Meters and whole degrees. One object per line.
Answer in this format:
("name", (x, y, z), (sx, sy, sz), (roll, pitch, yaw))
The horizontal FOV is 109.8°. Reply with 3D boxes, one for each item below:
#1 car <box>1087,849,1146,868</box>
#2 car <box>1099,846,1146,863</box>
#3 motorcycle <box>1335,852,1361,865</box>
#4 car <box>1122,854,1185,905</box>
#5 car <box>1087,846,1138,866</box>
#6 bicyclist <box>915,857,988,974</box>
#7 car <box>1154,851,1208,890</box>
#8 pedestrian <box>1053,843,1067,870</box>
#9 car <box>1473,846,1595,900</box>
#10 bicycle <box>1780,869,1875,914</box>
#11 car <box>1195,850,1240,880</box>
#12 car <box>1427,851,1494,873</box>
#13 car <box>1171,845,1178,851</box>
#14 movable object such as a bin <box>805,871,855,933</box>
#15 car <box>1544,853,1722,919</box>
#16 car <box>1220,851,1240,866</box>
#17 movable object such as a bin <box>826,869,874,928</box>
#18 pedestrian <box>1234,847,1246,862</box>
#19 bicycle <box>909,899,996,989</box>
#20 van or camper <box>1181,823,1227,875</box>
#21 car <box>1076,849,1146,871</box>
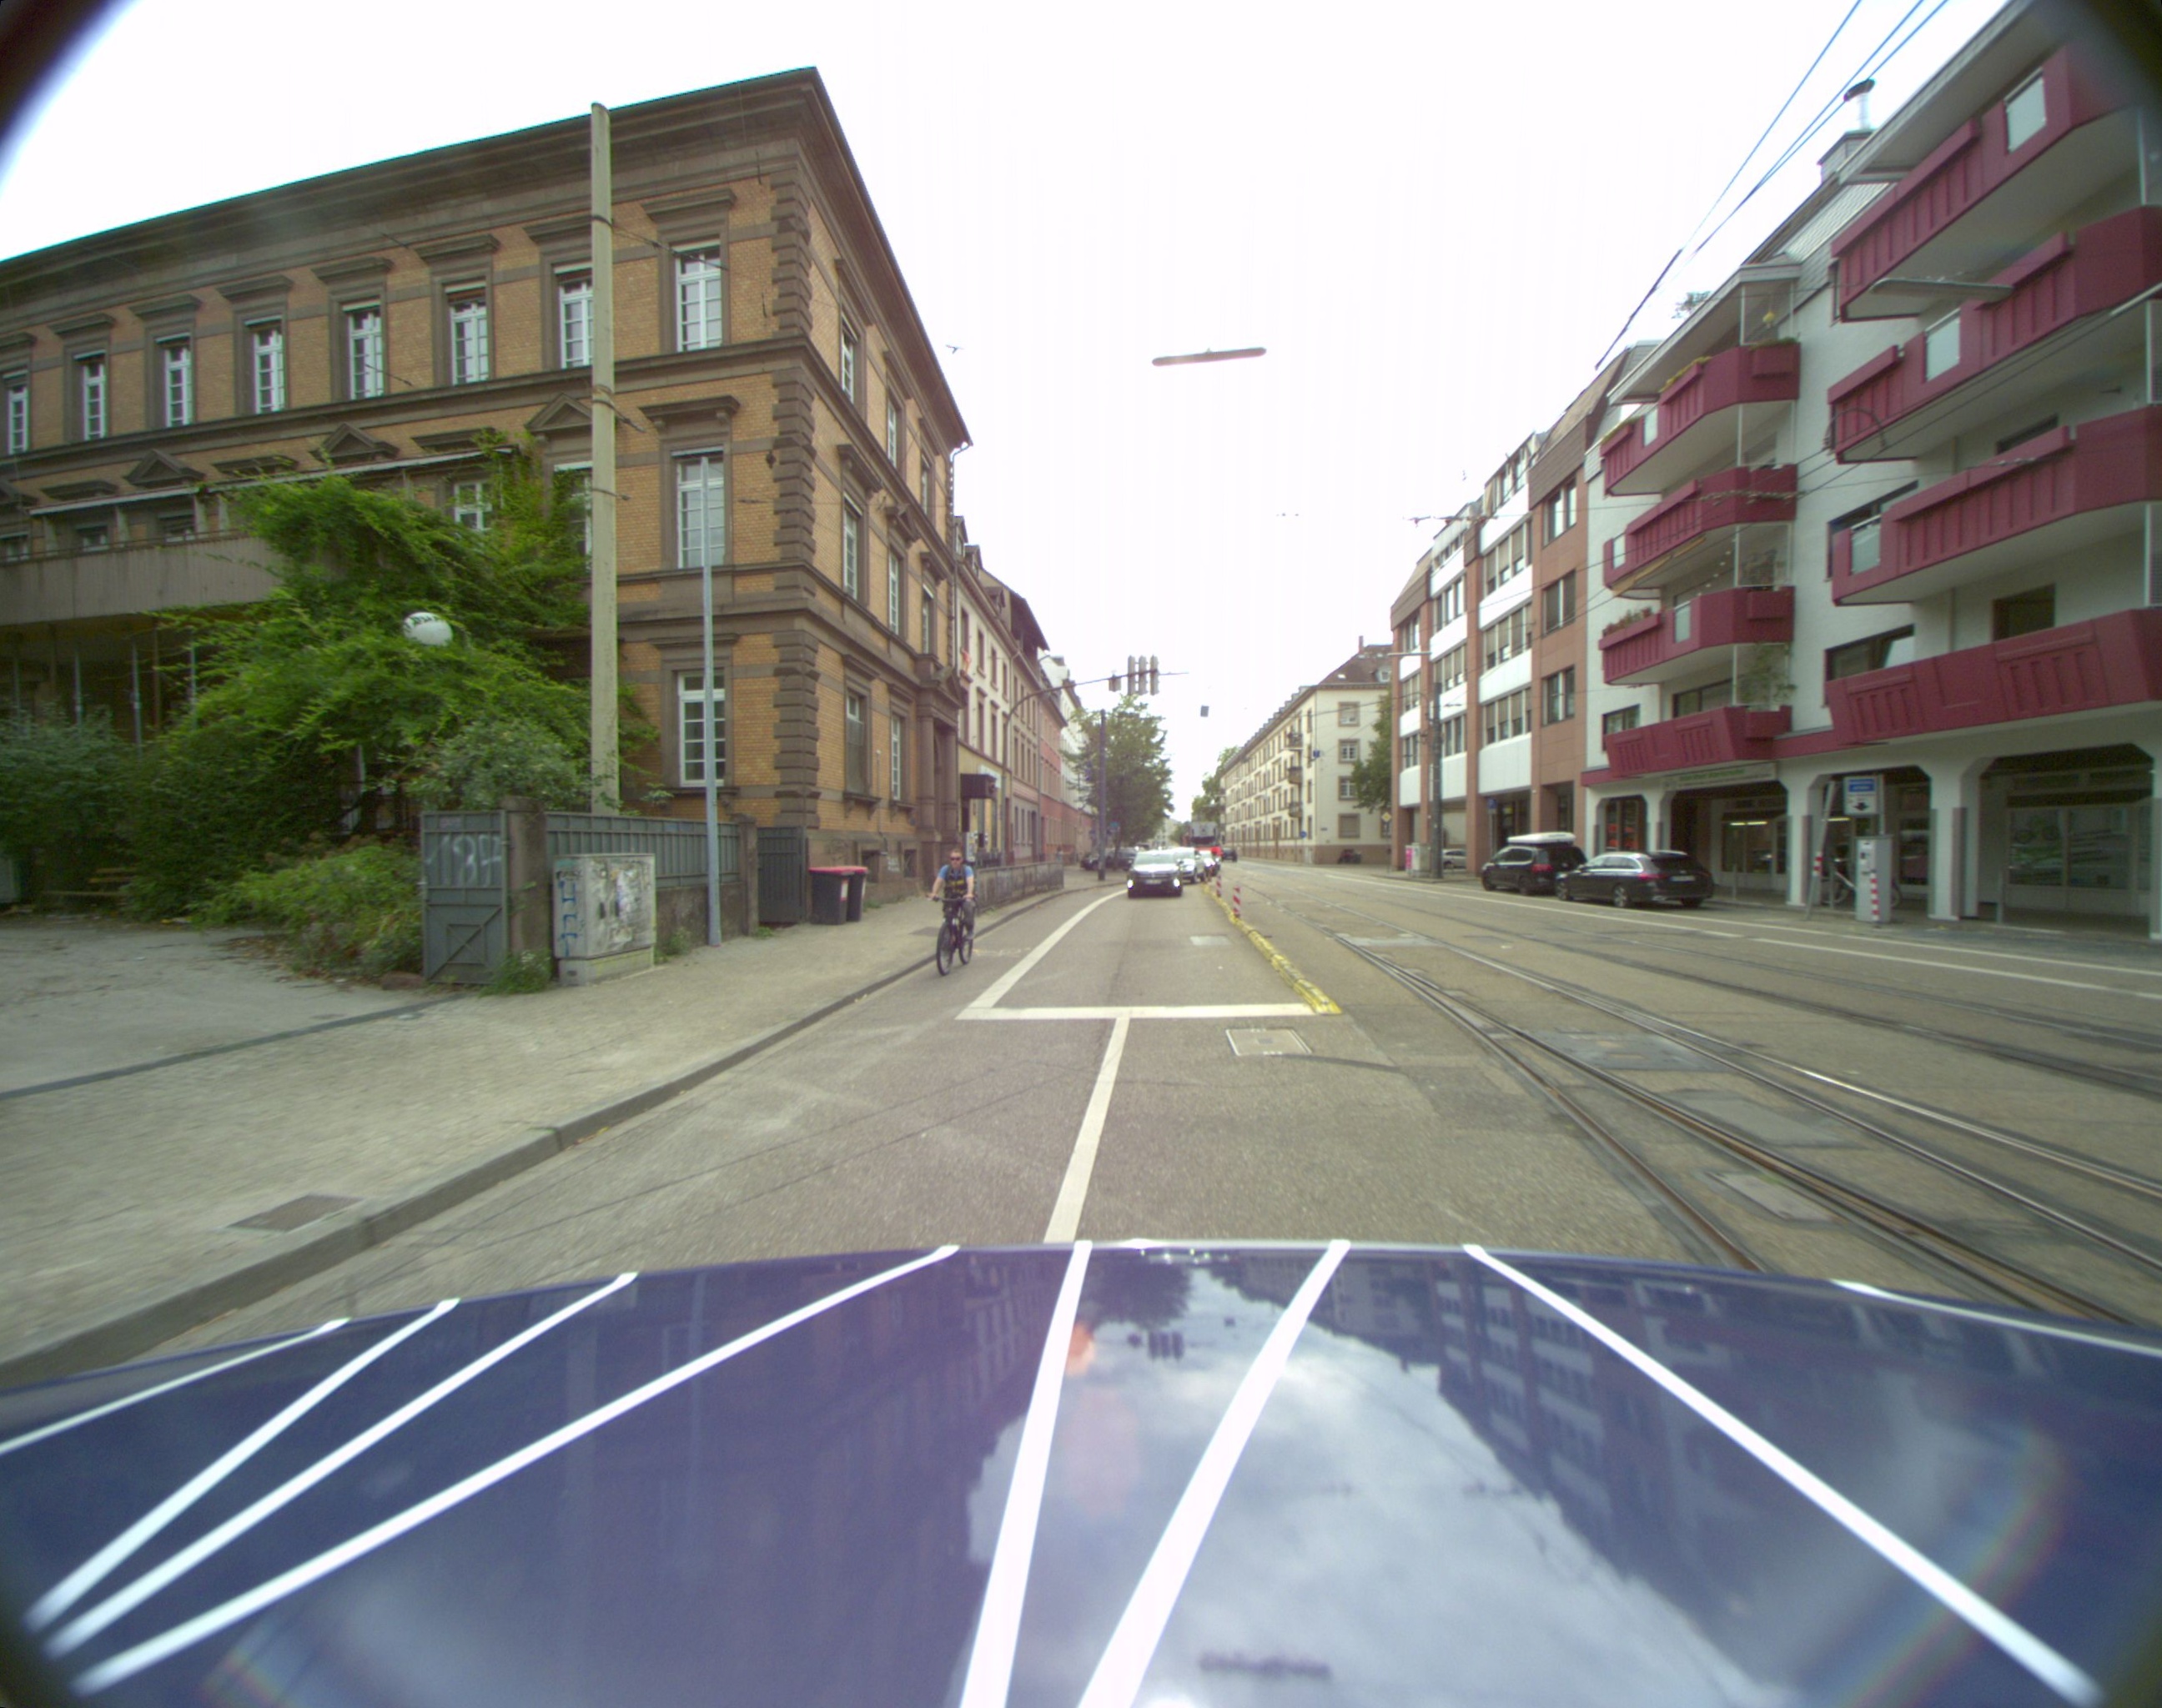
("car", (2.837, 0.362, 60.879), (4.349, 1.471, 1.786), (1, 0, -18))
("car", (4.393, 0.057, 81.412), (4.632, 1.688, 1.913), (1, 0, -18))
("motorcycle", (22.537, 0.374, 64.071), (1.923, 1.080, 0.793), (0, 1, 6))
("car", (2.579, 0.807, 26.168), (1.772, 1.538, 4.285), (-2, 1, 10))
("car", (2.803, 0.160, 67.571), (4.243, 1.688, 1.737), (1, 1, -18))
("bicyclist", (-1.754, 0.816, 10.433), (0.715, 1.498, 0.919), (-2, 1, 5))
("car", (4.603, 0.687, 34.486), (1.771, 1.582, 4.286), (-2, 1, 16))
("pedestrian", (-1.360, 0.156, 49.598), (0.732, 1.679, 0.927), (3, 1, 6))
("car", (15.480, 0.584, 26.294), (1.810, 1.638, 4.699), (-2, 0, 6))
("bicycle", (17.251, 0.850, 17.617), (0.565, 0.948, 1.650), (0, 1, -1))
("car", (7.675, 0.568, 42.439), (1.771, 1.526, 4.054), (-2, 1, 20))
("car", (24.881, 0.534, 49.892), (3.648, 1.380, 1.611), (0, 1, -3))
("car", (28.338, -1.786, 229.817), (1.898, 1.806, 4.002), (0, 1, 7))
("movable object such as a bin", (-4.688, 0.889, 14.231), (0.652, 1.076, 0.678), (3, 2, 2))
("car", (14.695, 0.765, 20.602), (1.758, 1.471, 4.699), (-2, 0, 6))
("car", (15.727, 0.447, 80.595), (1.772, 1.528, 4.050), (-2, 1, 7))
("movable object such as a bin", (-4.534, 0.866, 14.951), (0.665, 1.076, 0.701), (3, 2, 3))
("pedestrian", (18.997, 0.045, 90.690), (1.003, 1.831, 1.016), (-1, 2, -43))
("bicycle", (-1.732, 1.193, 10.537), (0.714, 1.012, 1.801), (-2, 1, 5))
("van or camper", (8.631, -0.367, 54.091), (2.606, 3.401, 9.655), (0, 1, 6))
("car", (2.115, 0.452, 53.838), (4.632, 1.464, 1.786), (1, 0, -18))
